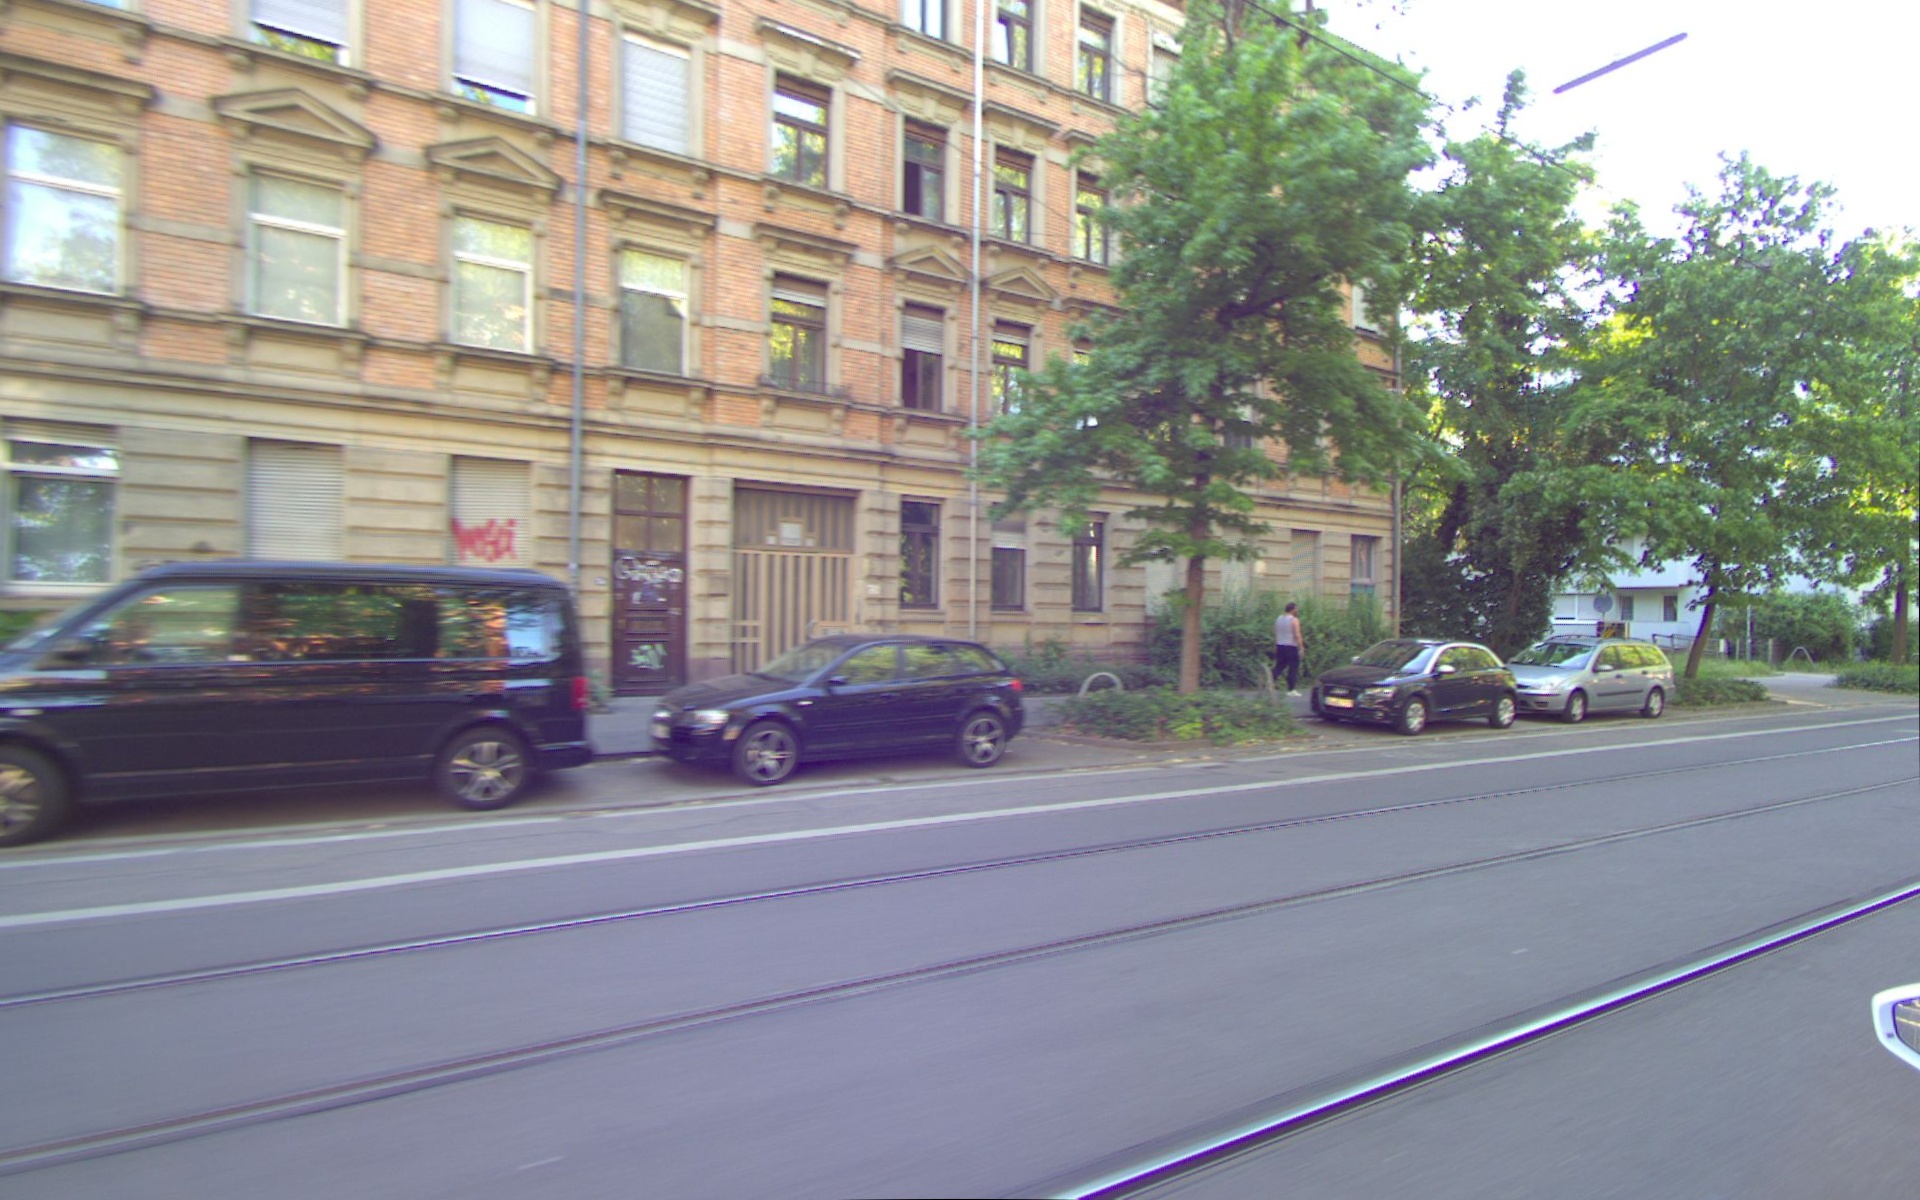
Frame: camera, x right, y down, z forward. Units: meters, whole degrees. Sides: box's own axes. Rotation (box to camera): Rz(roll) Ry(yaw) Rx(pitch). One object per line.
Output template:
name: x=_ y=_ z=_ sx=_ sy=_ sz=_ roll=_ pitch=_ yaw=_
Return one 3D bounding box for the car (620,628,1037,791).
car: x=-1.379 y=1.072 z=11.141 sx=4.224 sy=1.478 sz=1.842 roll=2 pitch=-1 yaw=-33

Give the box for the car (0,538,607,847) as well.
car: x=-5.626 y=0.655 z=8.298 sx=4.782 sy=2.040 sz=1.982 roll=2 pitch=-1 yaw=-33

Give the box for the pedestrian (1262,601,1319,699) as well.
pedestrian: x=6.510 y=0.961 z=19.788 sx=0.721 sy=1.872 sz=0.737 roll=1 pitch=1 yaw=-33

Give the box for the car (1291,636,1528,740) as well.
car: x=7.380 y=1.345 z=16.398 sx=3.906 sy=1.464 sz=1.649 roll=1 pitch=0 yaw=-32

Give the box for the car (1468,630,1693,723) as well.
car: x=11.934 y=1.400 z=19.258 sx=4.480 sy=1.571 sz=1.692 roll=1 pitch=0 yaw=-29
